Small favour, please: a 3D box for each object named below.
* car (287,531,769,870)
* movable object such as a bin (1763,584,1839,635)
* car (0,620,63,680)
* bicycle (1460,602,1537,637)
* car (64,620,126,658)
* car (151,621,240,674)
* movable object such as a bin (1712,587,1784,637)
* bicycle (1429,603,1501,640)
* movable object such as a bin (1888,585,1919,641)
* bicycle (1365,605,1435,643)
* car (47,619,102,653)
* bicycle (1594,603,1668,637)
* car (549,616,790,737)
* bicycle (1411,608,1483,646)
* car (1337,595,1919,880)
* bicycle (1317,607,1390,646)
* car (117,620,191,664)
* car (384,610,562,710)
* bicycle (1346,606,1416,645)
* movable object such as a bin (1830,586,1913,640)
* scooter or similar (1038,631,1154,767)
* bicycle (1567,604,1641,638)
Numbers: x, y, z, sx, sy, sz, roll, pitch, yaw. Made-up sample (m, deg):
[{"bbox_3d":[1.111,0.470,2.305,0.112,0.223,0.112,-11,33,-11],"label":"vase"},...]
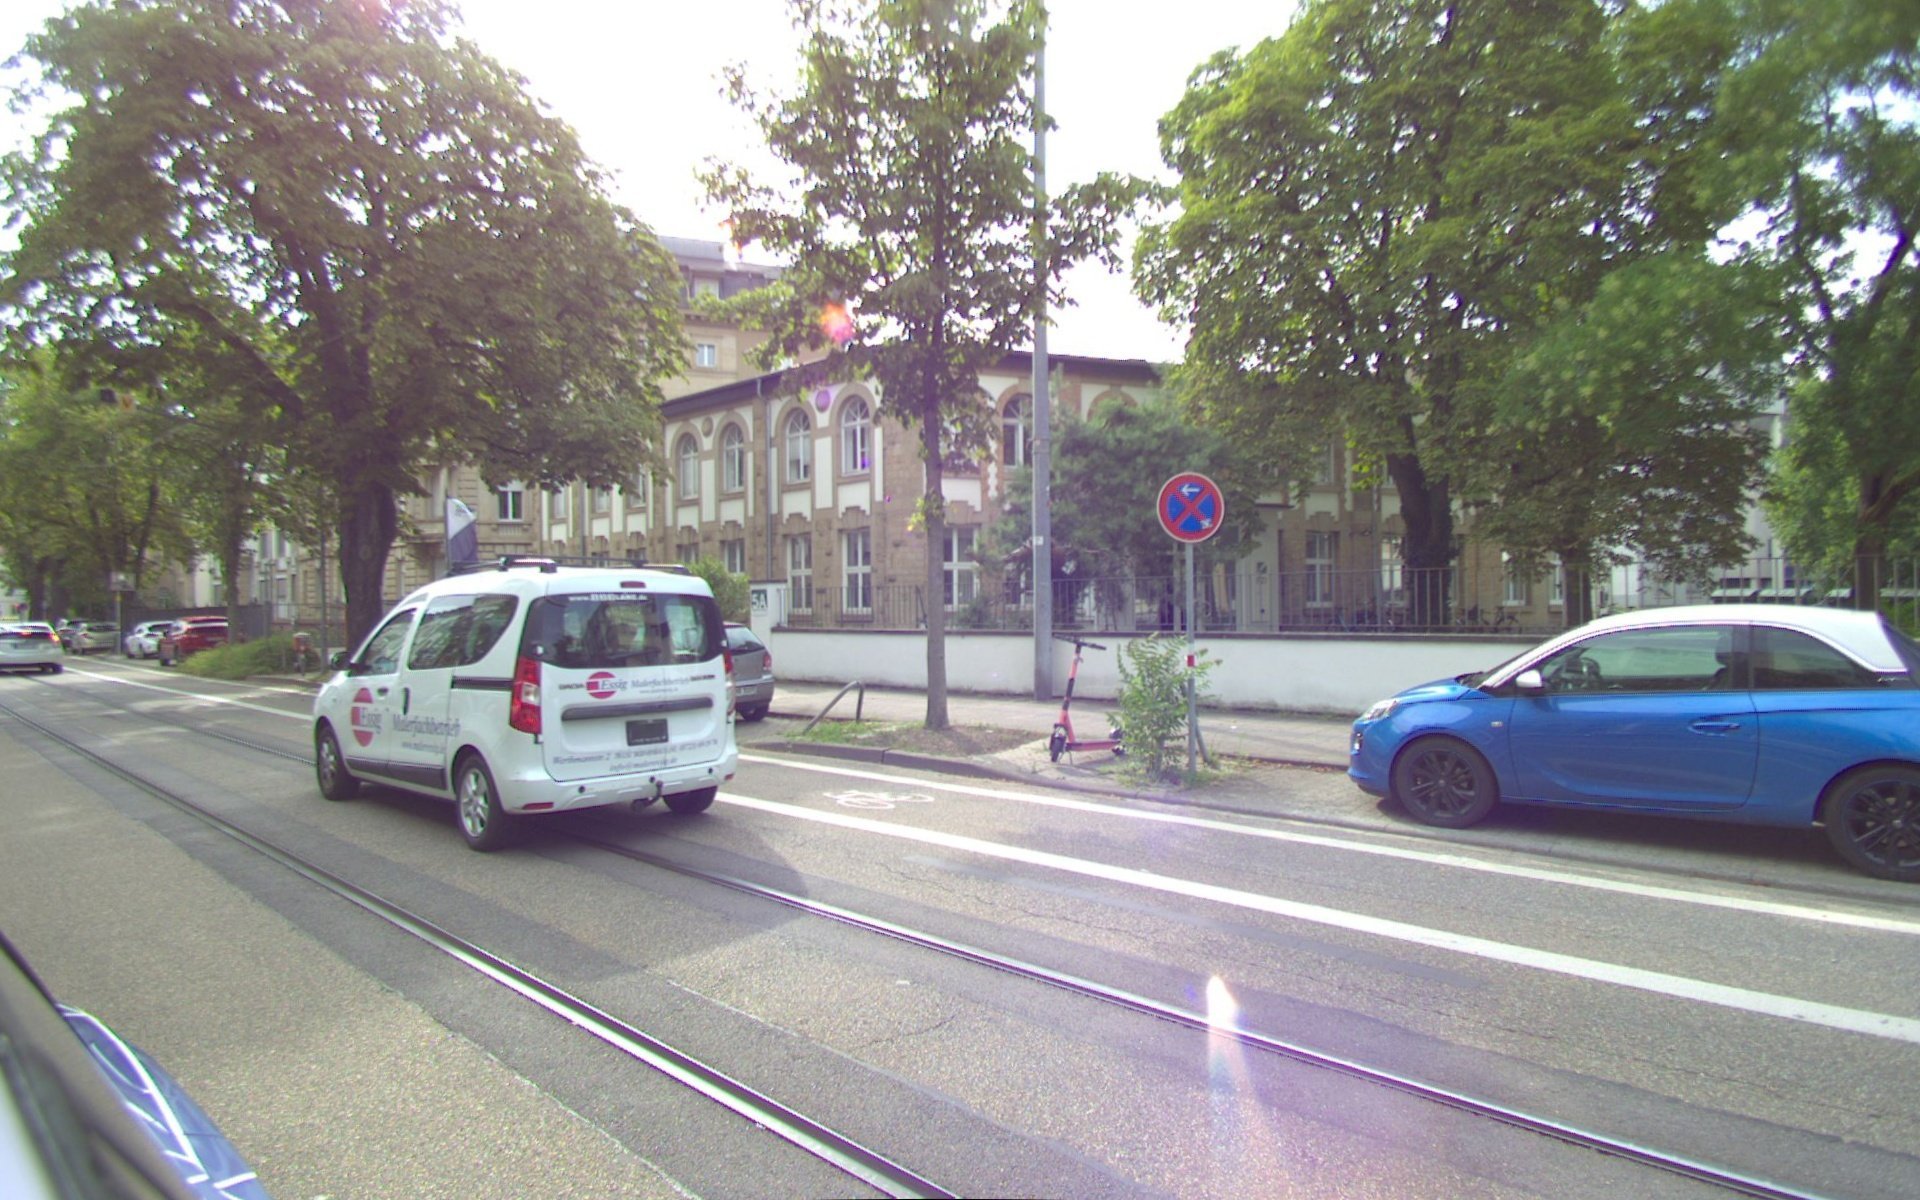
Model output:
[{"bbox_3d":[-3.517,0.597,7.775,4.377,1.898,1.714,-2,-1,42],"label":"car"},{"bbox_3d":[24.141,0.262,29.072,1.103,1.441,1.288,0,0,-21],"label":"movable object such as a bin"},{"bbox_3d":[-27.642,1.418,29.498,4.332,1.624,1.714,-1,-1,41],"label":"car"},{"bbox_3d":[16.537,0.602,31.120,1.978,1.051,0.586,-1,0,44],"label":"bicycle"},{"bbox_3d":[-40.211,1.786,47.034,3.904,1.646,1.637,-2,-1,41],"label":"car"},{"bbox_3d":[-25.830,1.558,34.166,3.904,1.646,1.637,-2,-1,41],"label":"car"},{"bbox_3d":[23.631,0.358,30.368,1.103,1.441,1.288,0,0,-21],"label":"movable object such as a bin"},{"bbox_3d":[15.015,0.621,30.157,0.584,1.051,1.984,-1,0,-23],"label":"bicycle"},{"bbox_3d":[25.227,0.341,26.290,1.103,1.441,1.288,0,0,-21],"label":"movable object such as a bin"},{"bbox_3d":[12.721,0.684,29.328,0.584,1.051,1.984,-1,0,-23],"label":"bicycle"},{"bbox_3d":[-45.555,1.849,52.032,3.904,1.646,1.637,-2,-1,41],"label":"car"},{"bbox_3d":[21.684,0.630,32.743,0.584,1.051,1.984,-1,0,-23],"label":"bicycle"},{"bbox_3d":[-4.191,0.992,14.377,3.572,1.476,1.611,-2,-1,41],"label":"car"},{"bbox_3d":[14.322,0.777,29.818,0.584,1.051,1.984,-1,0,-23],"label":"bicycle"},{"bbox_3d":[4.598,0.737,6.699,3.600,1.476,1.611,-2,-1,41],"label":"car"},{"bbox_3d":[11.147,0.741,28.760,0.584,1.051,1.984,-1,0,-30],"label":"bicycle"},{"bbox_3d":[-32.117,1.647,40.292,3.904,1.613,1.637,-2,-1,41],"label":"car"},{"bbox_3d":[-9.091,1.050,18.781,3.723,1.646,1.637,-2,-1,41],"label":"car"},{"bbox_3d":[12.025,0.708,28.996,0.584,1.051,1.984,-1,0,-23],"label":"bicycle"},{"bbox_3d":[24.851,0.345,27.610,1.103,1.441,1.288,0,0,-21],"label":"movable object such as a bin"},{"bbox_3d":[1.299,0.922,9.668,0.988,1.176,0.370,-3,0,-24],"label":"scooter or similar"},{"bbox_3d":[20.467,0.661,32.192,0.584,1.051,1.984,-1,0,-23],"label":"bicycle"}]
